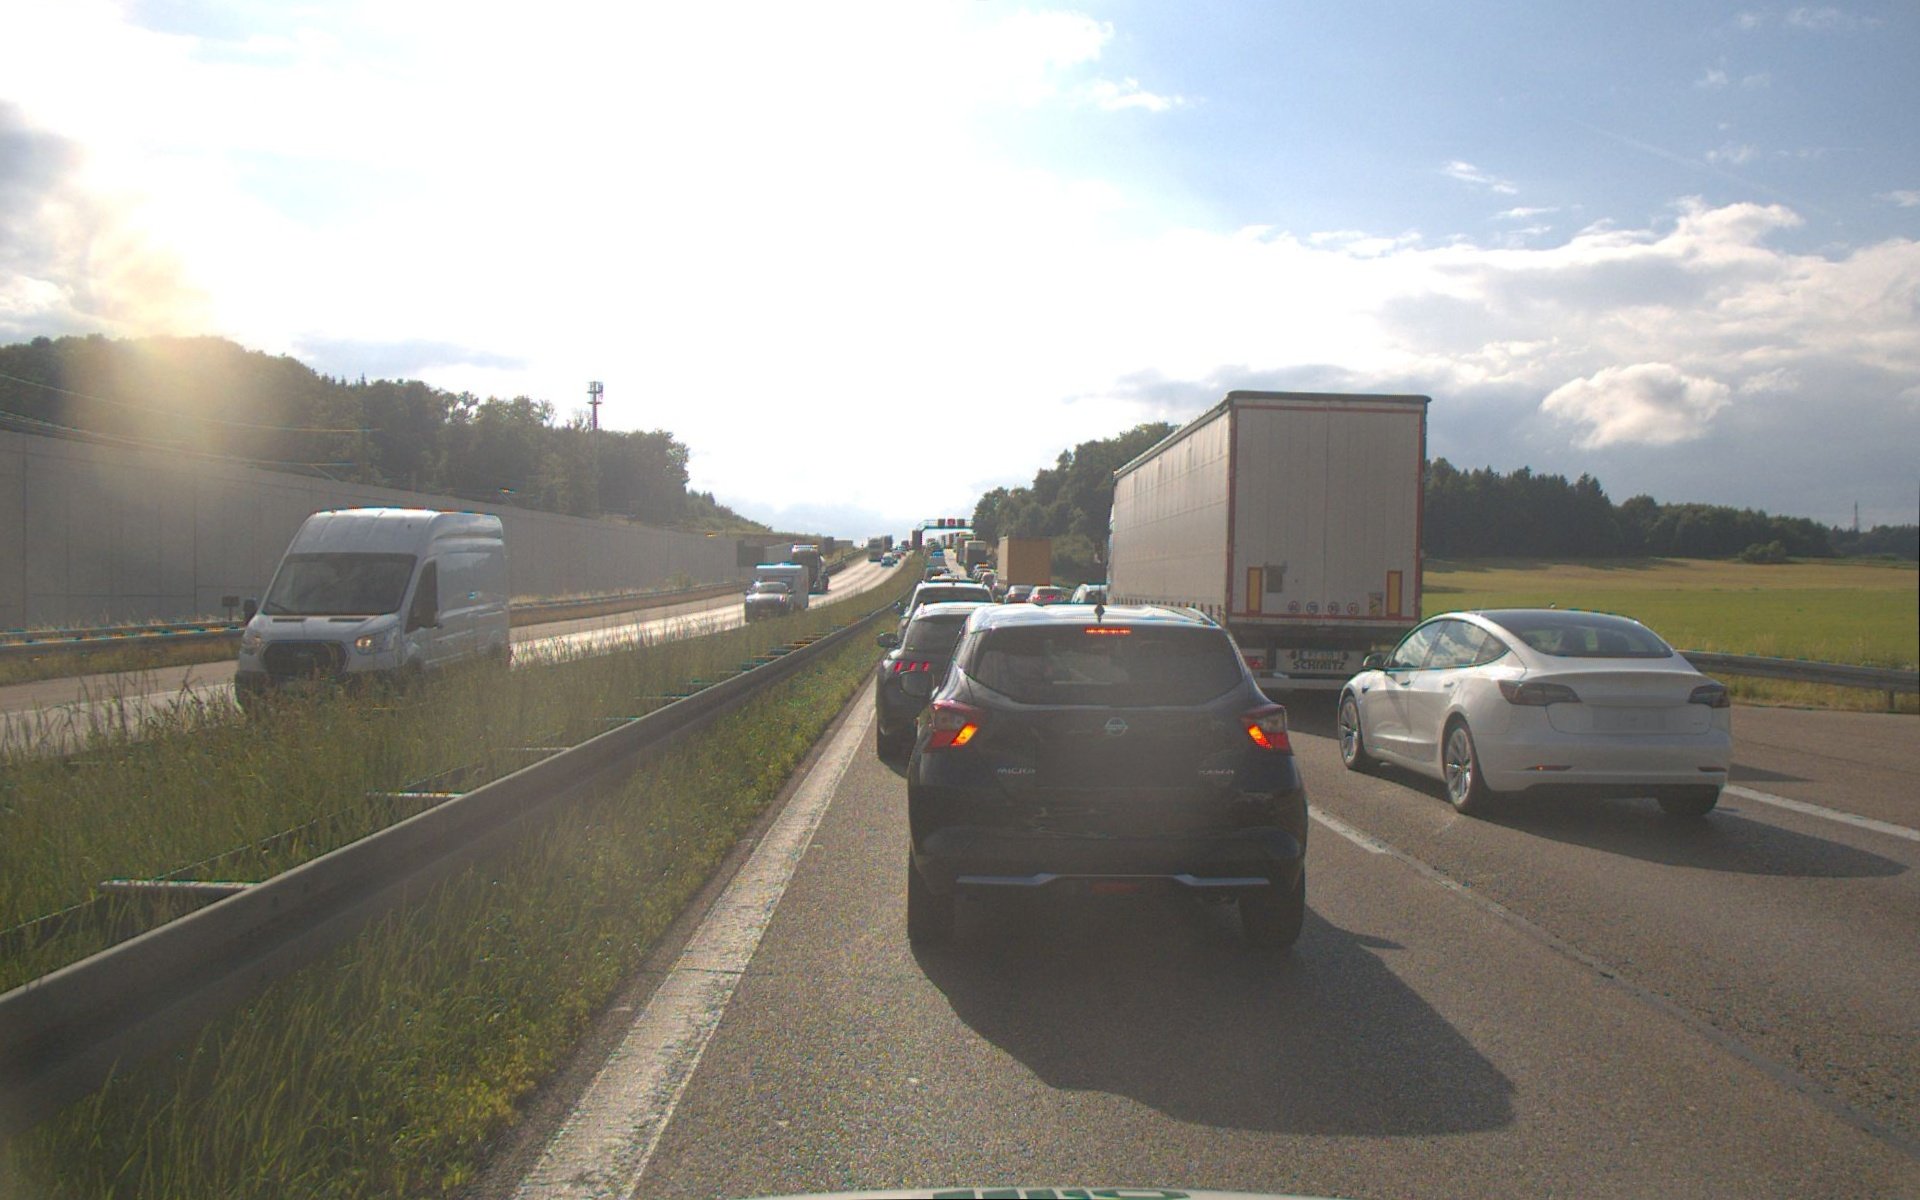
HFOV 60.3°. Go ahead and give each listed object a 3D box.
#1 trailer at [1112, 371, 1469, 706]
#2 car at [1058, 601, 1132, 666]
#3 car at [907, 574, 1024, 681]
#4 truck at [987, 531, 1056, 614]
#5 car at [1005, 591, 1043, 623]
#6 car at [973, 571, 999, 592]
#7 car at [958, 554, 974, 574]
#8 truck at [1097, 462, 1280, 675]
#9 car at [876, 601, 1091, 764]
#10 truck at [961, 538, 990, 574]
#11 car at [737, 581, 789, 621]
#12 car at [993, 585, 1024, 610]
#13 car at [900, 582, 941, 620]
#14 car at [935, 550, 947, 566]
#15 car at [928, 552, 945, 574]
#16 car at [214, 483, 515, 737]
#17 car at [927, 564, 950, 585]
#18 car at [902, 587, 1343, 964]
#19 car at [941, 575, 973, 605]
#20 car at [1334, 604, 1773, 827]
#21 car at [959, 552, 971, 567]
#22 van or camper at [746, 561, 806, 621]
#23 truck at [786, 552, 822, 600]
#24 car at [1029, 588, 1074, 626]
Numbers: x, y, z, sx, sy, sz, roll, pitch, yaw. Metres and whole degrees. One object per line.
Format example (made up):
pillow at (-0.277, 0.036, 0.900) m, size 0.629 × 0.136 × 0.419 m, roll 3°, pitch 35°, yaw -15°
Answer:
trailer at (4.686, -0.661, 27.007) m, size 3.067 × 4.081 × 13.364 m, roll 1°, pitch -1°, yaw 0°
car at (3.585, 0.856, 44.510) m, size 1.663 × 1.639 × 4.437 m, roll 0°, pitch 0°, yaw 0°
car at (0.069, 0.430, 28.077) m, size 1.835 × 1.673 × 4.231 m, roll 0°, pitch 0°, yaw -1°
truck at (3.639, -1.535, 100.842) m, size 3.230 × 4.657 × 12.434 m, roll 1°, pitch 0°, yaw -2°
car at (3.361, 0.350, 87.321) m, size 1.835 × 1.673 × 4.232 m, roll 0°, pitch 1°, yaw -1°
car at (2.226, -1.621, 143.079) m, size 1.836 × 1.673 × 4.229 m, roll 0°, pitch 2°, yaw -4°
car at (0.693, -4.353, 200.069) m, size 1.835 × 2.196 × 5.211 m, roll 0°, pitch 3°, yaw -1°
truck at (4.648, -0.575, 34.670) m, size 3.069 × 4.086 × 5.163 m, roll 1°, pitch -1°, yaw 0°
car at (0.175, 0.702, 16.222) m, size 1.835 × 1.381 × 4.231 m, roll 0°, pitch 0°, yaw -1°
truck at (2.033, -5.958, 225.851) m, size 3.395 × 4.656 × 12.437 m, roll 1°, pitch 1°, yaw -2°
car at (-8.625, 0.042, 72.875) m, size 1.872 × 1.701 × 4.361 m, roll 0°, pitch 0°, yaw -1°
car at (3.251, -0.178, 111.800) m, size 1.836 × 1.673 × 4.230 m, roll 0°, pitch 1°, yaw -3°
car at (-1.825, 0.018, 77.328) m, size 1.835 × 1.673 × 4.232 m, roll 0°, pitch 1°, yaw -1°
car at (-2.944, -6.390, 252.001) m, size 1.835 × 2.196 × 5.211 m, roll 0°, pitch 3°, yaw -1°
car at (-2.586, -4.011, 179.640) m, size 1.835 × 2.196 × 5.211 m, roll 0°, pitch 3°, yaw -1°
car at (-7.616, 0.109, 21.887) m, size 2.061 × 2.920 × 5.635 m, roll 0°, pitch 0°, yaw -1°
car at (-1.784, -2.094, 136.075) m, size 1.835 × 1.673 × 4.231 m, roll 0°, pitch 2°, yaw -2°
car at (0.618, 0.688, 8.618) m, size 1.737 × 1.476 × 4.231 m, roll 0°, pitch 0°, yaw -1°
car at (-0.202, -0.601, 95.904) m, size 1.835 × 1.673 × 4.232 m, roll 0°, pitch 2°, yaw -1°
car at (4.383, 0.764, 13.028) m, size 1.752 × 1.418 × 4.435 m, roll 0°, pitch 0°, yaw -2°
car at (0.757, -6.202, 255.369) m, size 1.835 × 2.196 × 5.211 m, roll 0°, pitch 3°, yaw -1°
van or camper at (-8.672, -0.418, 78.657) m, size 2.207 × 2.751 × 7.168 m, roll 0°, pitch 0°, yaw -1°
truck at (-13.259, -1.992, 141.151) m, size 2.530 × 3.991 × 5.721 m, roll -1°, pitch 0°, yaw -1°
car at (4.276, 0.301, 77.879) m, size 1.835 × 1.673 × 4.232 m, roll 0°, pitch 1°, yaw -1°
